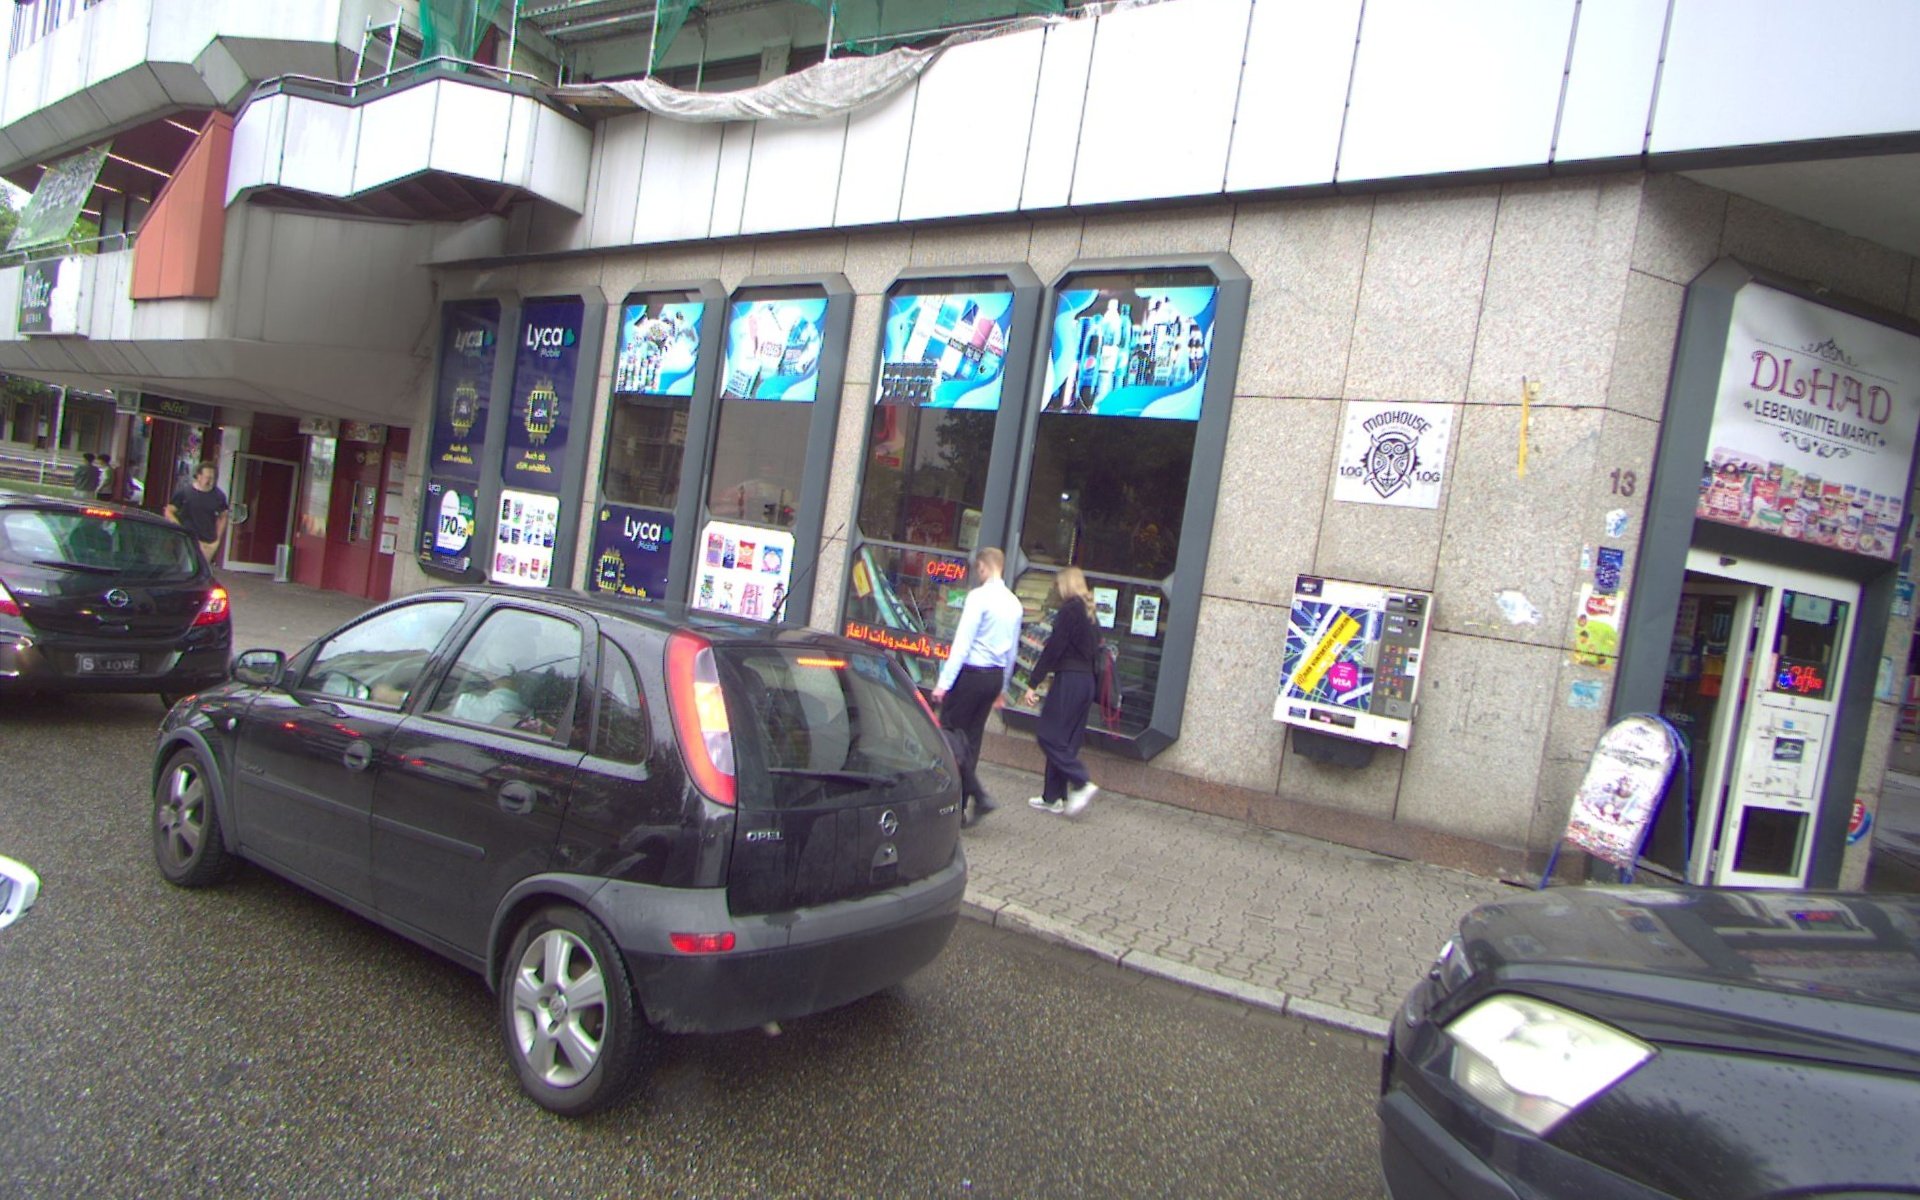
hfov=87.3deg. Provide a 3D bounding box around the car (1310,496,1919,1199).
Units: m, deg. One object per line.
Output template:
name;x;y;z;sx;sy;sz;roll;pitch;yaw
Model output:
car;2.829;1.018;1.416;4.095;1.786;1.763;8;-1;32

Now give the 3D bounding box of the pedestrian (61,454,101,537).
pedestrian;-18.664;-2.213;21.359;0.443;1.704;0.426;6;1;30

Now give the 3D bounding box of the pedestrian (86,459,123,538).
pedestrian;-18.681;-2.209;21.975;0.496;1.660;0.396;6;1;32

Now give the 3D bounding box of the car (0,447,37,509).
car;-26.592;-3.464;25.815;1.593;1.503;3.911;6;-2;19

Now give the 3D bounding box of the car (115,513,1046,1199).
car;-1.676;0.616;4.079;3.563;1.446;1.609;8;-1;33

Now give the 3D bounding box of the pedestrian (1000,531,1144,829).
pedestrian;0.803;0.531;7.151;0.629;1.961;0.736;6;4;31

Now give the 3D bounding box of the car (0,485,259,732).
car;-7.088;-0.109;7.343;3.776;1.446;1.620;8;-1;29

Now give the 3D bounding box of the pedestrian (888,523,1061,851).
pedestrian;0.108;0.541;6.534;0.629;1.957;0.737;6;-1;31

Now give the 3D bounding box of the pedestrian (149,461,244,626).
pedestrian;-8.953;-0.652;11.793;0.763;1.841;0.739;7;4;43
